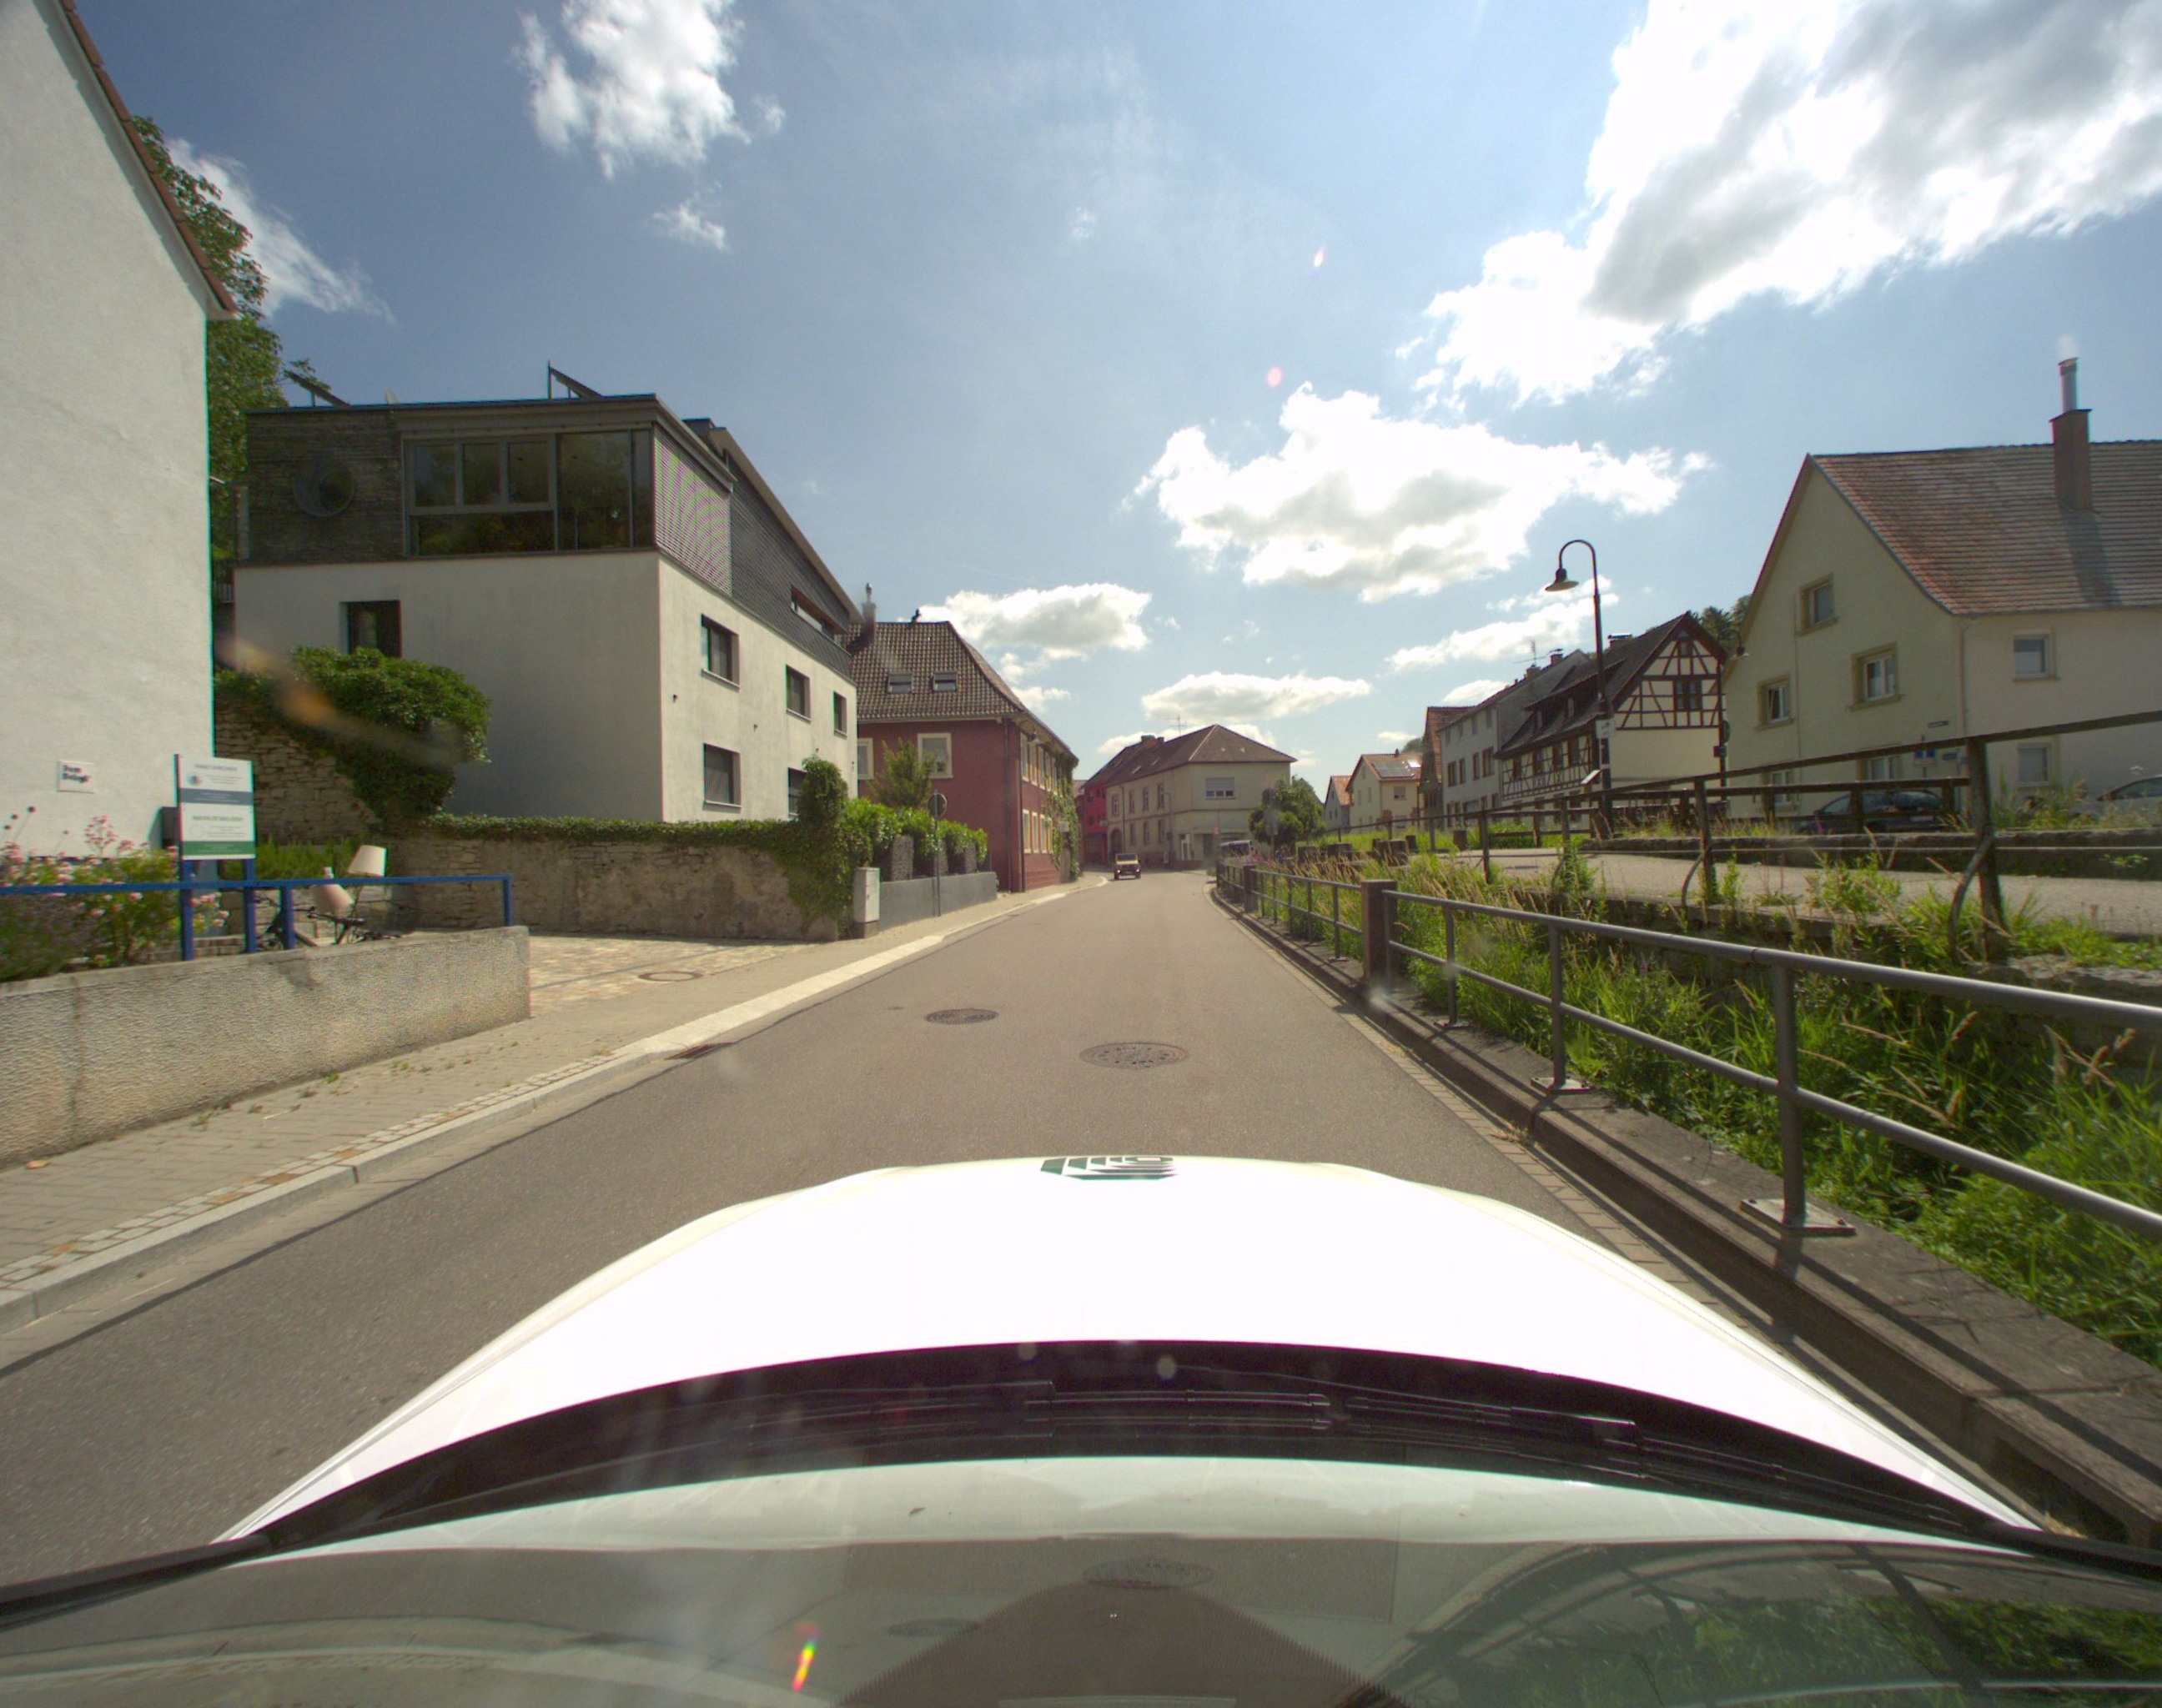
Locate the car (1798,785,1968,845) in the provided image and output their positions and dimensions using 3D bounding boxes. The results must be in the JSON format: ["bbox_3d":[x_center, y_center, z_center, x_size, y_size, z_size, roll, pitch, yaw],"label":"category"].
[{"bbox_3d":[21.168,-0.984,21.659,1.656,1.416,3.084,-1,0,6],"label":"car"}]

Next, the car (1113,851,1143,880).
[{"bbox_3d":[3.130,0.729,53.443,1.613,1.719,3.480,-4,0,7],"label":"car"}]

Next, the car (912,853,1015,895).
[{"bbox_3d":[-4.491,0.757,31.463,3.546,1.406,1.655,2,0,7],"label":"car"}]

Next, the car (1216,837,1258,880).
[{"bbox_3d":[7.824,0.208,40.929,1.886,1.980,3.123,-4,0,10],"label":"car"}]

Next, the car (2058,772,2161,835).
[{"bbox_3d":[24.719,-1.192,18.279,1.659,1.325,3.246,-4,0,2],"label":"car"}]

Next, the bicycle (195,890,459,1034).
[{"bbox_3d":[-6.055,0.811,6.670,0.505,0.972,1.542,4,-1,8],"label":"bicycle"}]
